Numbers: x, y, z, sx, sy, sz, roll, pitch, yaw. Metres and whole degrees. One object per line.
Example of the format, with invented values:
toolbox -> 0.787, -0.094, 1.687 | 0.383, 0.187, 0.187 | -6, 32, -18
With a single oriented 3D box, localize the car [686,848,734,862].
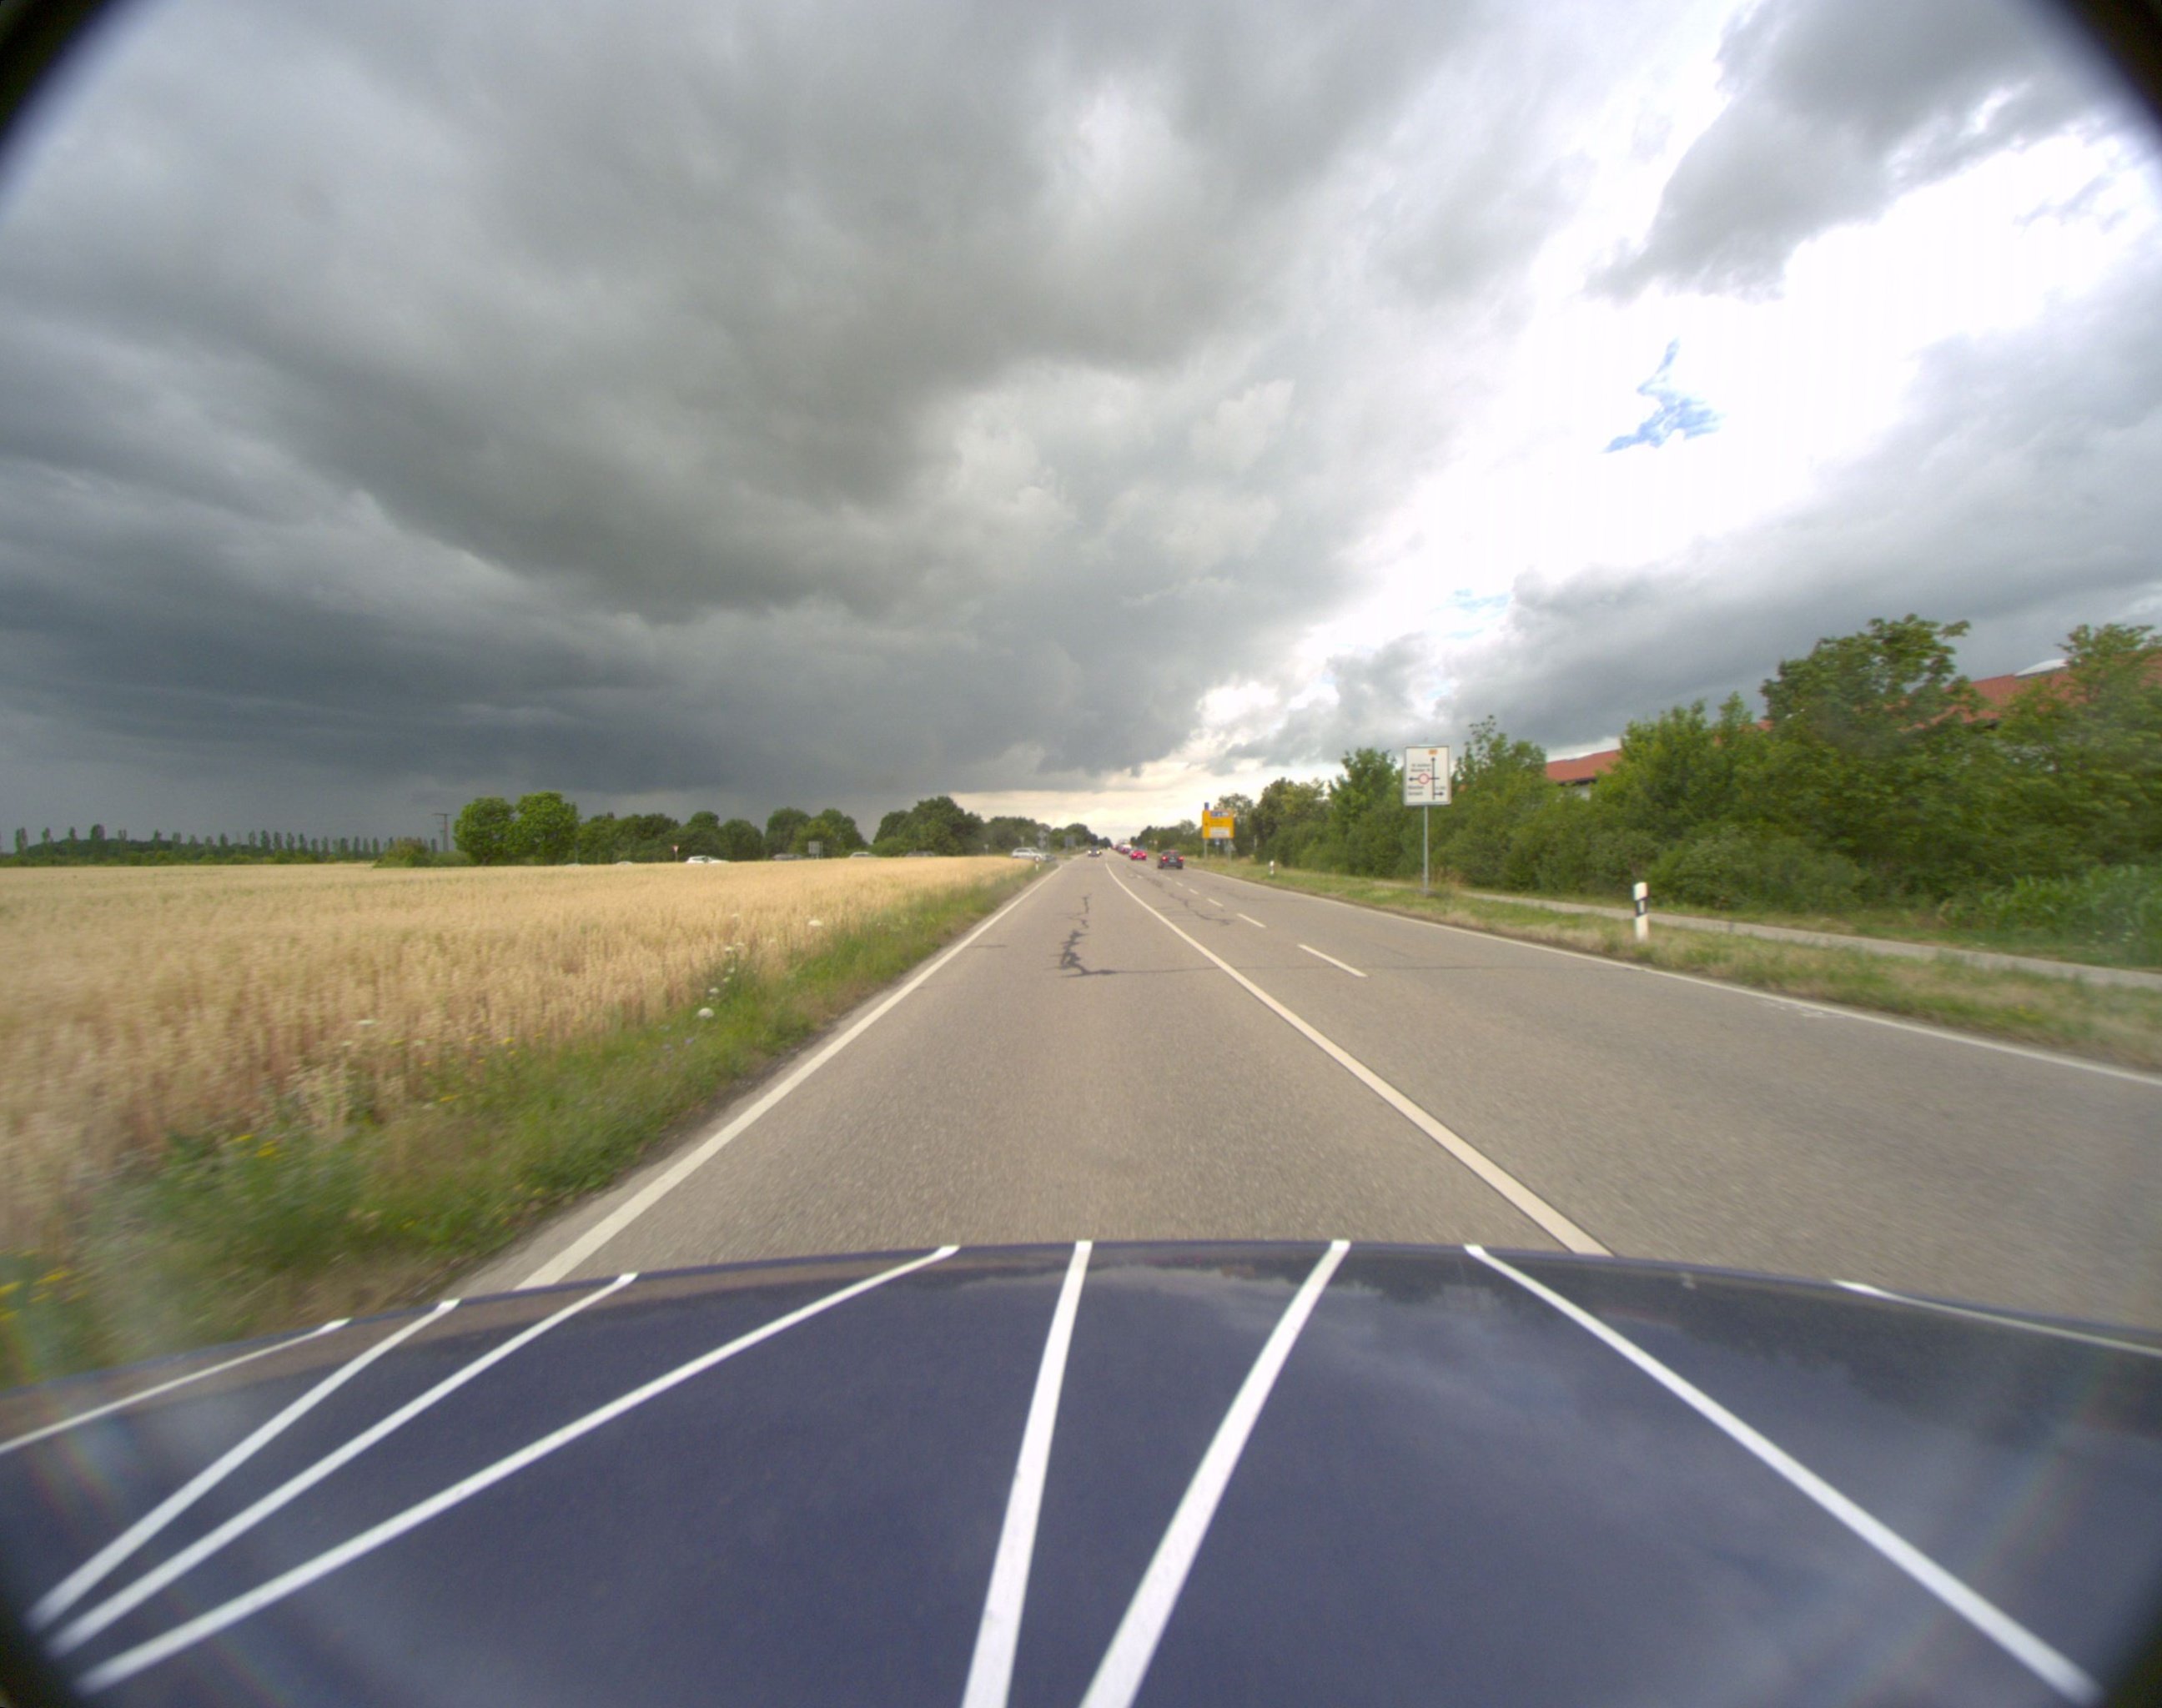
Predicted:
car -> -42.759, 0.146, 87.652 | 4.633, 1.486, 1.722 | -1, 3, 6

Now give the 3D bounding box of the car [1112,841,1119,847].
car -> 11.162, -3.156, 245.089 | 2.339, 1.911, 4.875 | -1, 1, 2

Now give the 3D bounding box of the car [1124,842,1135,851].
car -> 10.204, -1.660, 160.748 | 2.111, 1.875, 5.390 | 0, 1, 1

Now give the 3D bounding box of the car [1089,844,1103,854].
car -> 2.300, -0.848, 116.730 | 1.998, 1.474, 3.999 | -1, 1, 1

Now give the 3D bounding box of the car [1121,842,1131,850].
car -> 10.016, -1.755, 168.128 | 1.998, 1.614, 4.260 | 2, 1, 0

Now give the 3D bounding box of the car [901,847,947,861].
car -> -17.667, 0.007, 85.555 | 4.688, 1.346, 1.722 | -1, 3, 8

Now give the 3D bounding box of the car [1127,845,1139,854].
car -> 8.466, -0.693, 123.390 | 1.734, 1.423, 3.934 | 1, 1, 1

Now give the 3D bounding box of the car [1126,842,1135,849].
car -> 9.878, -1.712, 151.965 | 1.676, 1.394, 4.089 | 0, 1, 2

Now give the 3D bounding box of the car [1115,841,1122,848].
car -> 10.582, -2.677, 213.864 | 1.856, 1.740, 4.000 | -1, 1, 1

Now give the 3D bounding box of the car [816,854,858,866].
car -> -27.800, 0.701, 86.656 | 4.209, 1.345, 1.723 | -1, 1, 6

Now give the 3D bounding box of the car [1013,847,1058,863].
car -> -4.761, 0.064, 79.939 | 4.381, 1.578, 2.000 | 1, 4, 33

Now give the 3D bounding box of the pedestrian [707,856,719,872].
pedestrian -> -36.329, 0.991, 75.026 | 0.945, 1.602, 0.772 | -1, 1, -12

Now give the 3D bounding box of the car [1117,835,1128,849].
car -> 9.845, -2.812, 180.333 | 2.339, 3.011, 6.558 | 1, 1, 2

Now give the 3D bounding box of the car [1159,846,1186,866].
car -> 7.114, 0.115, 59.418 | 1.673, 1.421, 4.302 | 1, 1, 1

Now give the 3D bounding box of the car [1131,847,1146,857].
car -> 7.380, -0.285, 97.431 | 1.775, 1.234, 4.211 | 0, 1, 2
